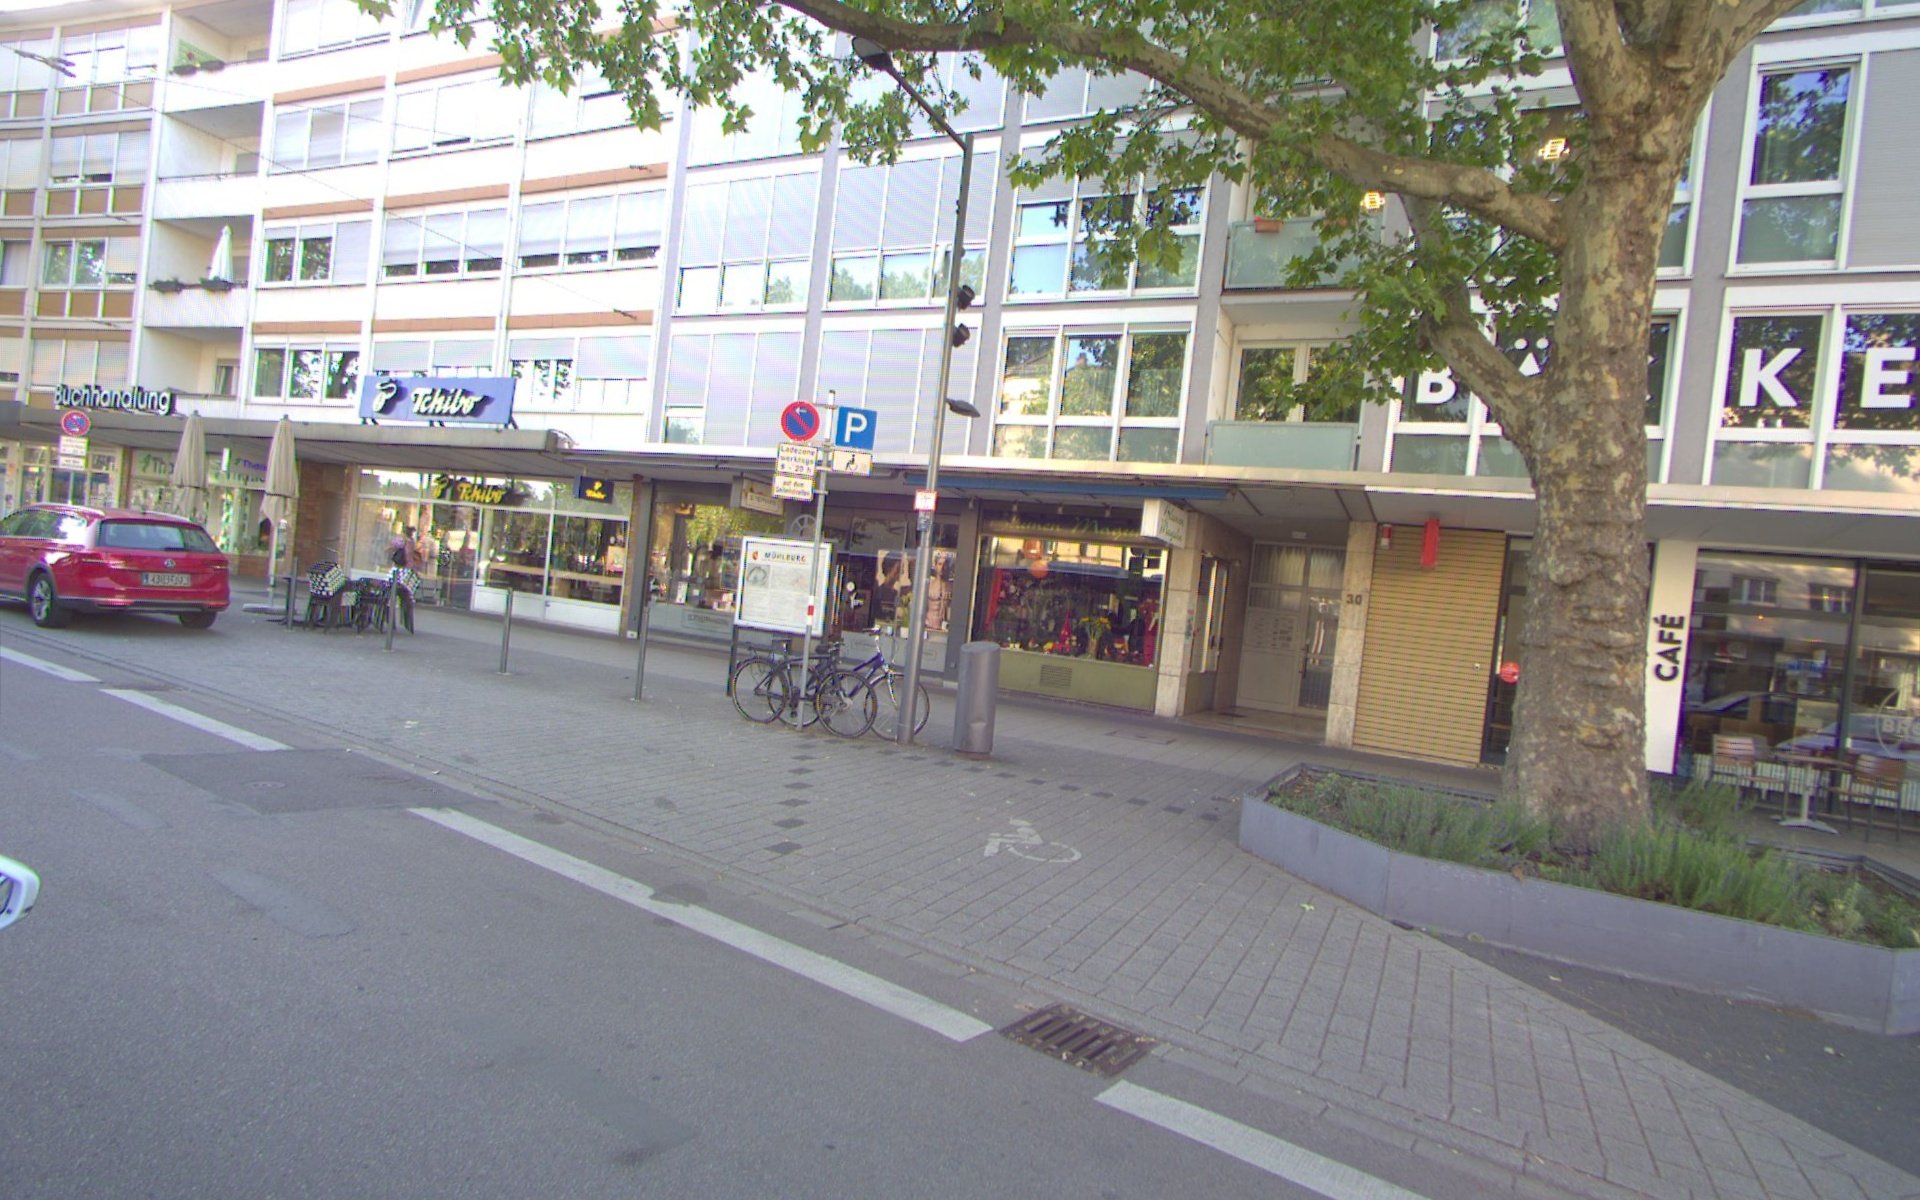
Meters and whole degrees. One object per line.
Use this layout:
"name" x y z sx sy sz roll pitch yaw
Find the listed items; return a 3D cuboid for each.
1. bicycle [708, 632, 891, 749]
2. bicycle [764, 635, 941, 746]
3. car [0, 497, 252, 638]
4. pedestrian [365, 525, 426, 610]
"bicycle" -1.638 0.901 10.241 1.743 0.951 0.391 6 2 12
"bicycle" -1.130 0.931 10.557 1.743 0.931 0.391 6 2 12
"car" -11.640 -0.490 13.462 4.229 1.502 1.772 6 1 28
"pedestrian" -11.335 -0.653 20.210 0.776 1.613 0.651 7 3 26
